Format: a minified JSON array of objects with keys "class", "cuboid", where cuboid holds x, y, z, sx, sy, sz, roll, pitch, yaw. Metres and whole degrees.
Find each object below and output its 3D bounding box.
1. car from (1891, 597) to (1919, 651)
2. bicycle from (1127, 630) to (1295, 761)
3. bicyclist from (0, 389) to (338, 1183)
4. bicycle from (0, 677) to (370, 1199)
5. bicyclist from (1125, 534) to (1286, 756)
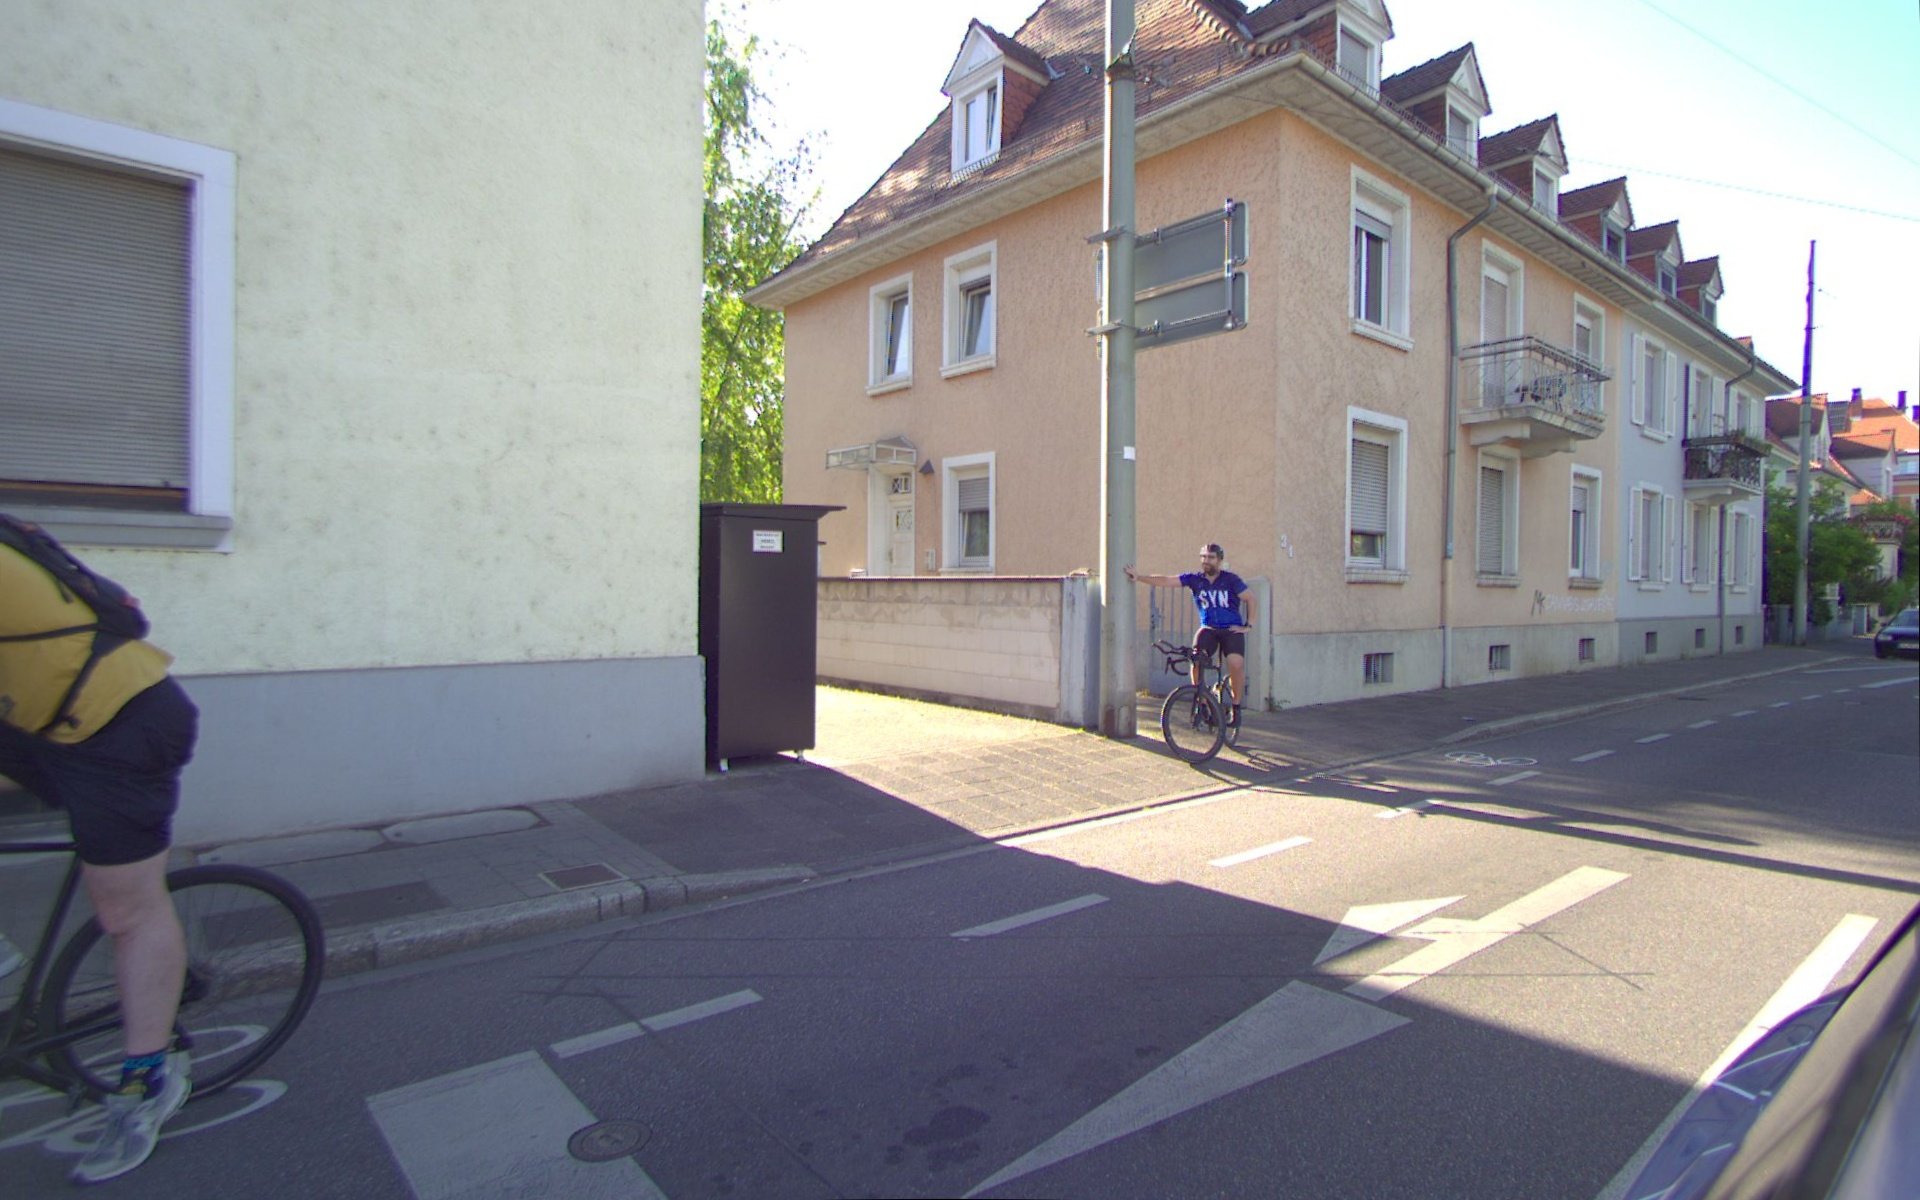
[{"class":"car","cuboid":[26.688,0.635,27.342,3.796,1.382,1.648,0,1,-38]},{"class":"bicycle","cuboid":[2.308,0.822,9.205,1.669,1.003,0.572,0,4,-41]},{"class":"bicyclist","cuboid":[-2.309,0.425,2.696,1.018,1.840,0.653,0,1,-41]},{"class":"bicycle","cuboid":[-2.485,0.848,2.531,1.669,1.180,0.572,0,1,-41]},{"class":"bicyclist","cuboid":[2.275,0.365,9.430,0.831,1.887,1.076,0,4,-40]}]
